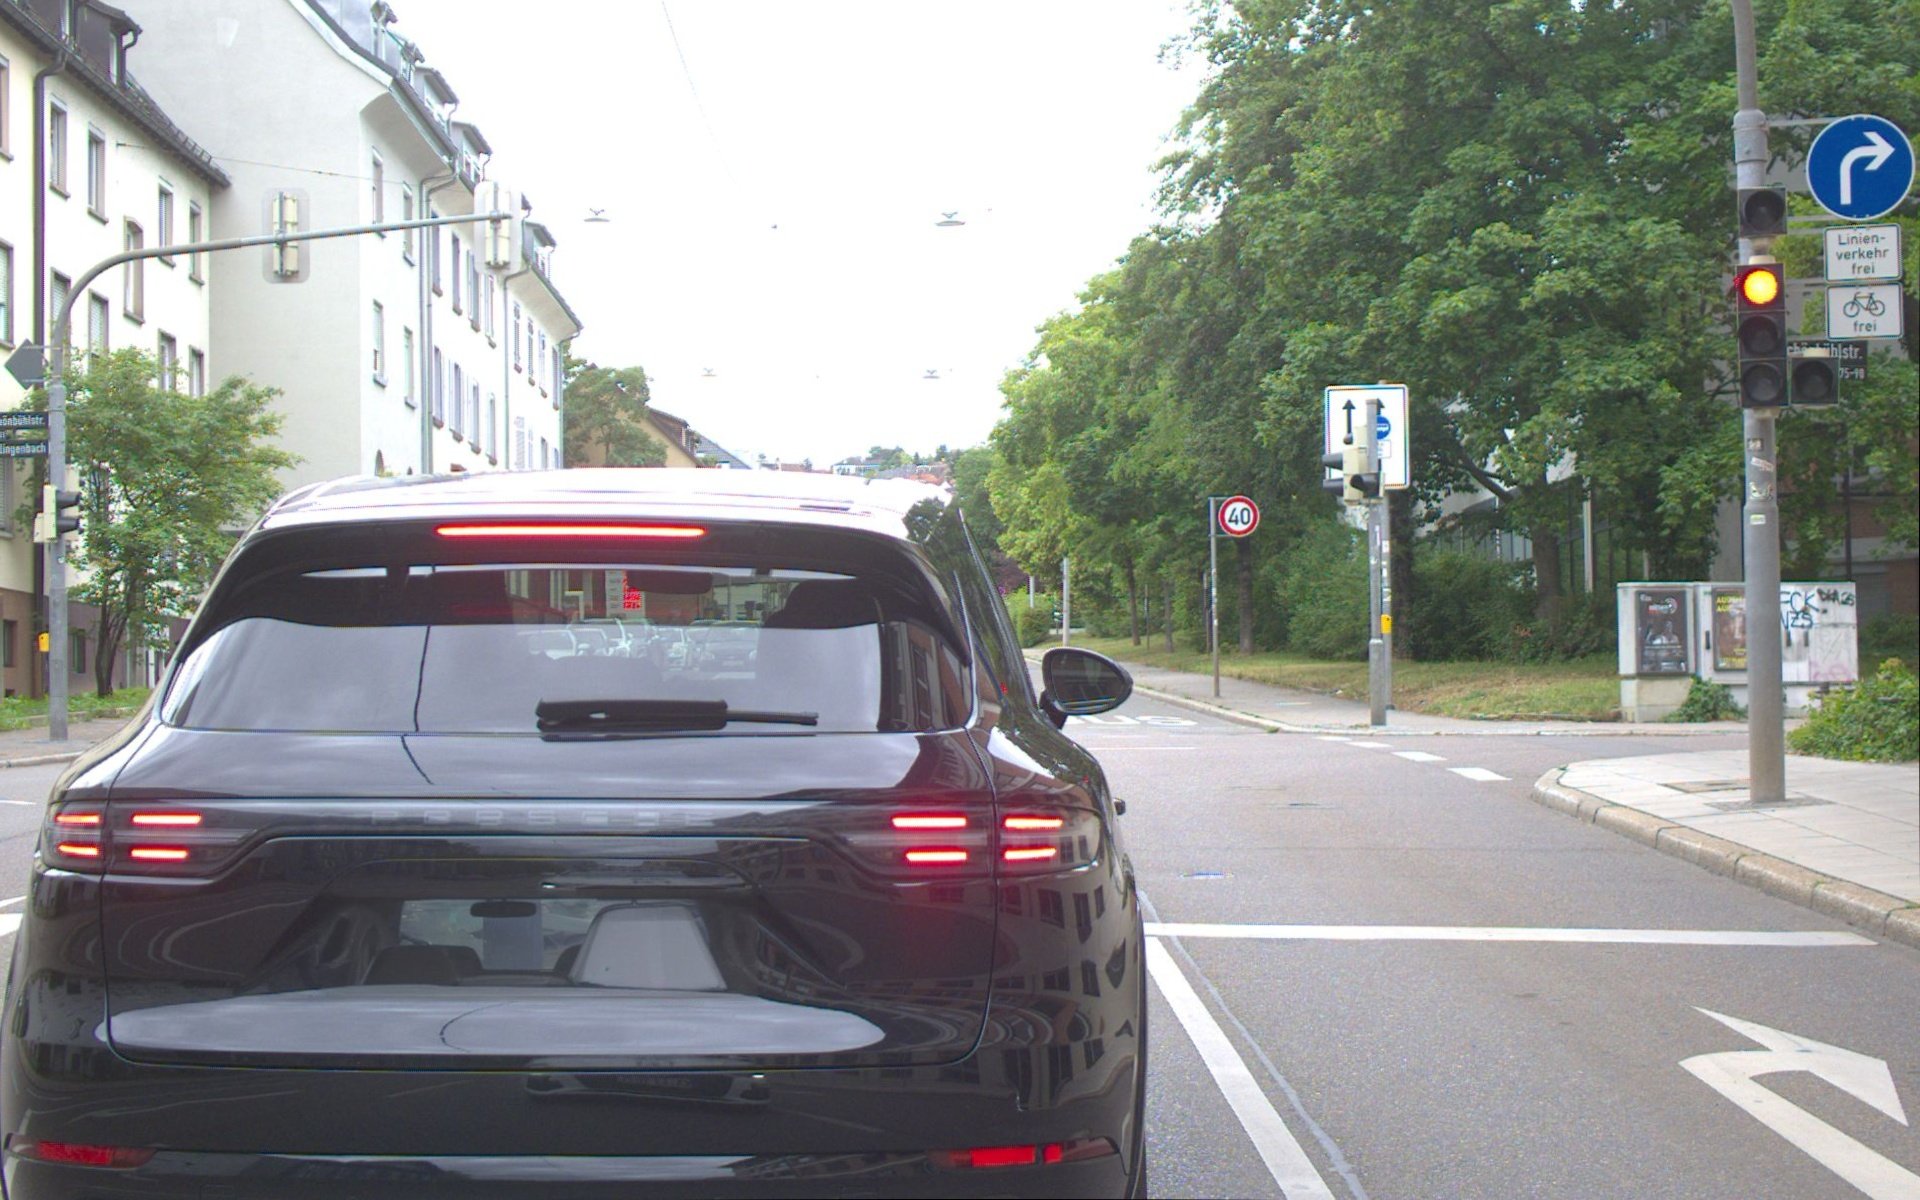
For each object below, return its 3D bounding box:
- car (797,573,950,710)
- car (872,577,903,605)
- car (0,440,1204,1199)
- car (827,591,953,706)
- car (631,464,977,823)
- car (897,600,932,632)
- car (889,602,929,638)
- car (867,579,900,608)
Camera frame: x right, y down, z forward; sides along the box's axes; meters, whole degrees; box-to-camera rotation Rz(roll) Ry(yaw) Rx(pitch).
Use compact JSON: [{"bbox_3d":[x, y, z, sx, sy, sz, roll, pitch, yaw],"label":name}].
[{"bbox_3d":[-1.063,0.490,43.831,1.827,1.599,4.135,1,1,0],"label":"car"},{"bbox_3d":[-4.409,-0.565,210.279,1.827,1.599,4.135,1,1,0],"label":"car"},{"bbox_3d":[-0.687,0.567,7.259,2.048,1.660,4.267,1,1,0],"label":"car"},{"bbox_3d":[-1.040,0.712,52.549,1.827,1.599,3.859,1,1,0],"label":"car"},{"bbox_3d":[-0.911,0.216,21.906,1.965,2.035,4.135,1,1,0],"label":"car"},{"bbox_3d":[-2.407,0.832,182.494,1.827,1.599,4.135,1,1,0],"label":"car"},{"bbox_3d":[-2.395,0.944,163.318,1.827,1.599,4.135,1,1,0],"label":"car"},{"bbox_3d":[-4.506,-0.411,202.954,1.827,1.599,4.135,1,1,0],"label":"car"}]
